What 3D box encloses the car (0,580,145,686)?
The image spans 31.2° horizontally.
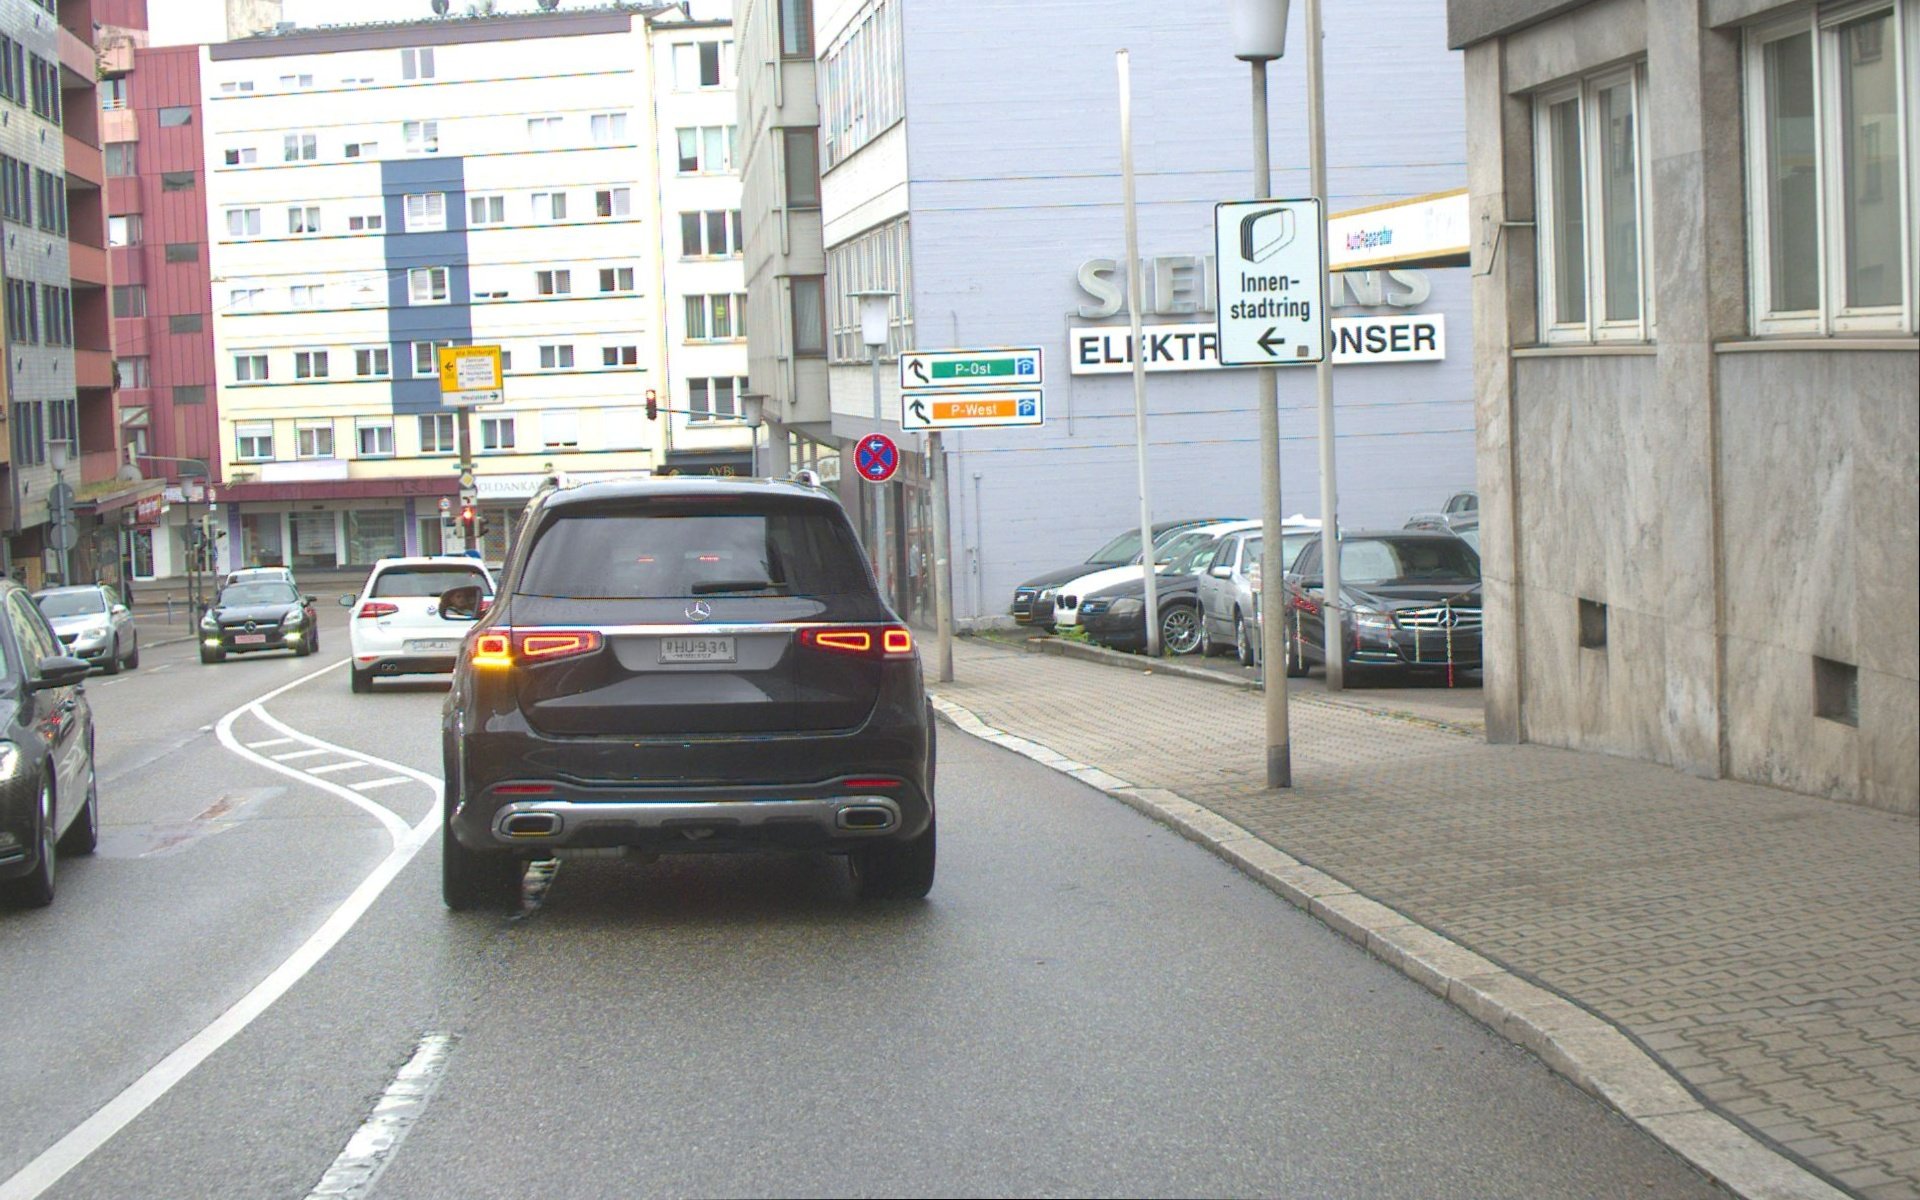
[{"bbox_3d":[-14.443,0.521,56.003,1.744,1.533,4.644,-4,1,-8],"label":"car"}]

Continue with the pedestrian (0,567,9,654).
[{"bbox_3d":[-18.917,0.209,66.896,0.671,1.646,0.606,-2,5,-9],"label":"pedestrian"}]

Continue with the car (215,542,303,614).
[{"bbox_3d":[-18.603,-0.610,91.401,1.869,1.747,4.400,-4,1,-7],"label":"car"}]

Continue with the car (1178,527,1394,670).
[{"bbox_3d":[3.540,-0.051,37.987,1.565,1.472,4.071,-1,1,-6],"label":"car"}]

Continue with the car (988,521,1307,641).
[{"bbox_3d":[2.583,-0.255,47.305,3.986,1.592,1.799,-1,-1,-25],"label":"car"}]

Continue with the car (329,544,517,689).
[{"bbox_3d":[-6.091,0.144,38.659,1.830,1.456,4.380,-3,1,-11],"label":"car"}]

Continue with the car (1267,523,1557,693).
[{"bbox_3d":[4.183,0.033,32.487,1.796,1.472,4.486,-1,1,-5],"label":"car"}]

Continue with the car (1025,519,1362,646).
[{"bbox_3d":[3.040,-0.224,44.734,3.986,1.592,1.799,-1,-1,-25],"label":"car"}]

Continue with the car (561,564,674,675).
[{"bbox_3d":[-5.199,0.262,51.932,1.522,1.543,3.108,-2,2,-8],"label":"car"}]

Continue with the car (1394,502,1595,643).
[{"bbox_3d":[5.995,-0.285,38.885,1.527,1.507,3.392,-1,0,-4],"label":"car"}]

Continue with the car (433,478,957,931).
[{"bbox_3d":[-1.356,0.362,15.619,2.020,1.733,4.748,0,1,-8],"label":"car"}]

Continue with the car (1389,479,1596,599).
[{"bbox_3d":[7.489,-0.835,48.683,1.644,1.592,3.868,-1,0,-11],"label":"car"}]

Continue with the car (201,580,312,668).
[{"bbox_3d":[-11.856,0.379,57.969,1.714,1.313,4.145,-2,2,-11],"label":"car"}]

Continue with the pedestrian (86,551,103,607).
[{"bbox_3d":[-23.101,-0.552,91.794,0.318,1.469,0.339,-1,5,-1],"label":"pedestrian"}]

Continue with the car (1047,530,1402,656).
[{"bbox_3d":[3.245,-0.087,42.205,3.986,1.489,1.733,-1,-1,-25],"label":"car"}]

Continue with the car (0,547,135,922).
[{"bbox_3d":[-4.946,0.587,15.970,1.723,1.510,4.370,-3,0,-9],"label":"car"}]
